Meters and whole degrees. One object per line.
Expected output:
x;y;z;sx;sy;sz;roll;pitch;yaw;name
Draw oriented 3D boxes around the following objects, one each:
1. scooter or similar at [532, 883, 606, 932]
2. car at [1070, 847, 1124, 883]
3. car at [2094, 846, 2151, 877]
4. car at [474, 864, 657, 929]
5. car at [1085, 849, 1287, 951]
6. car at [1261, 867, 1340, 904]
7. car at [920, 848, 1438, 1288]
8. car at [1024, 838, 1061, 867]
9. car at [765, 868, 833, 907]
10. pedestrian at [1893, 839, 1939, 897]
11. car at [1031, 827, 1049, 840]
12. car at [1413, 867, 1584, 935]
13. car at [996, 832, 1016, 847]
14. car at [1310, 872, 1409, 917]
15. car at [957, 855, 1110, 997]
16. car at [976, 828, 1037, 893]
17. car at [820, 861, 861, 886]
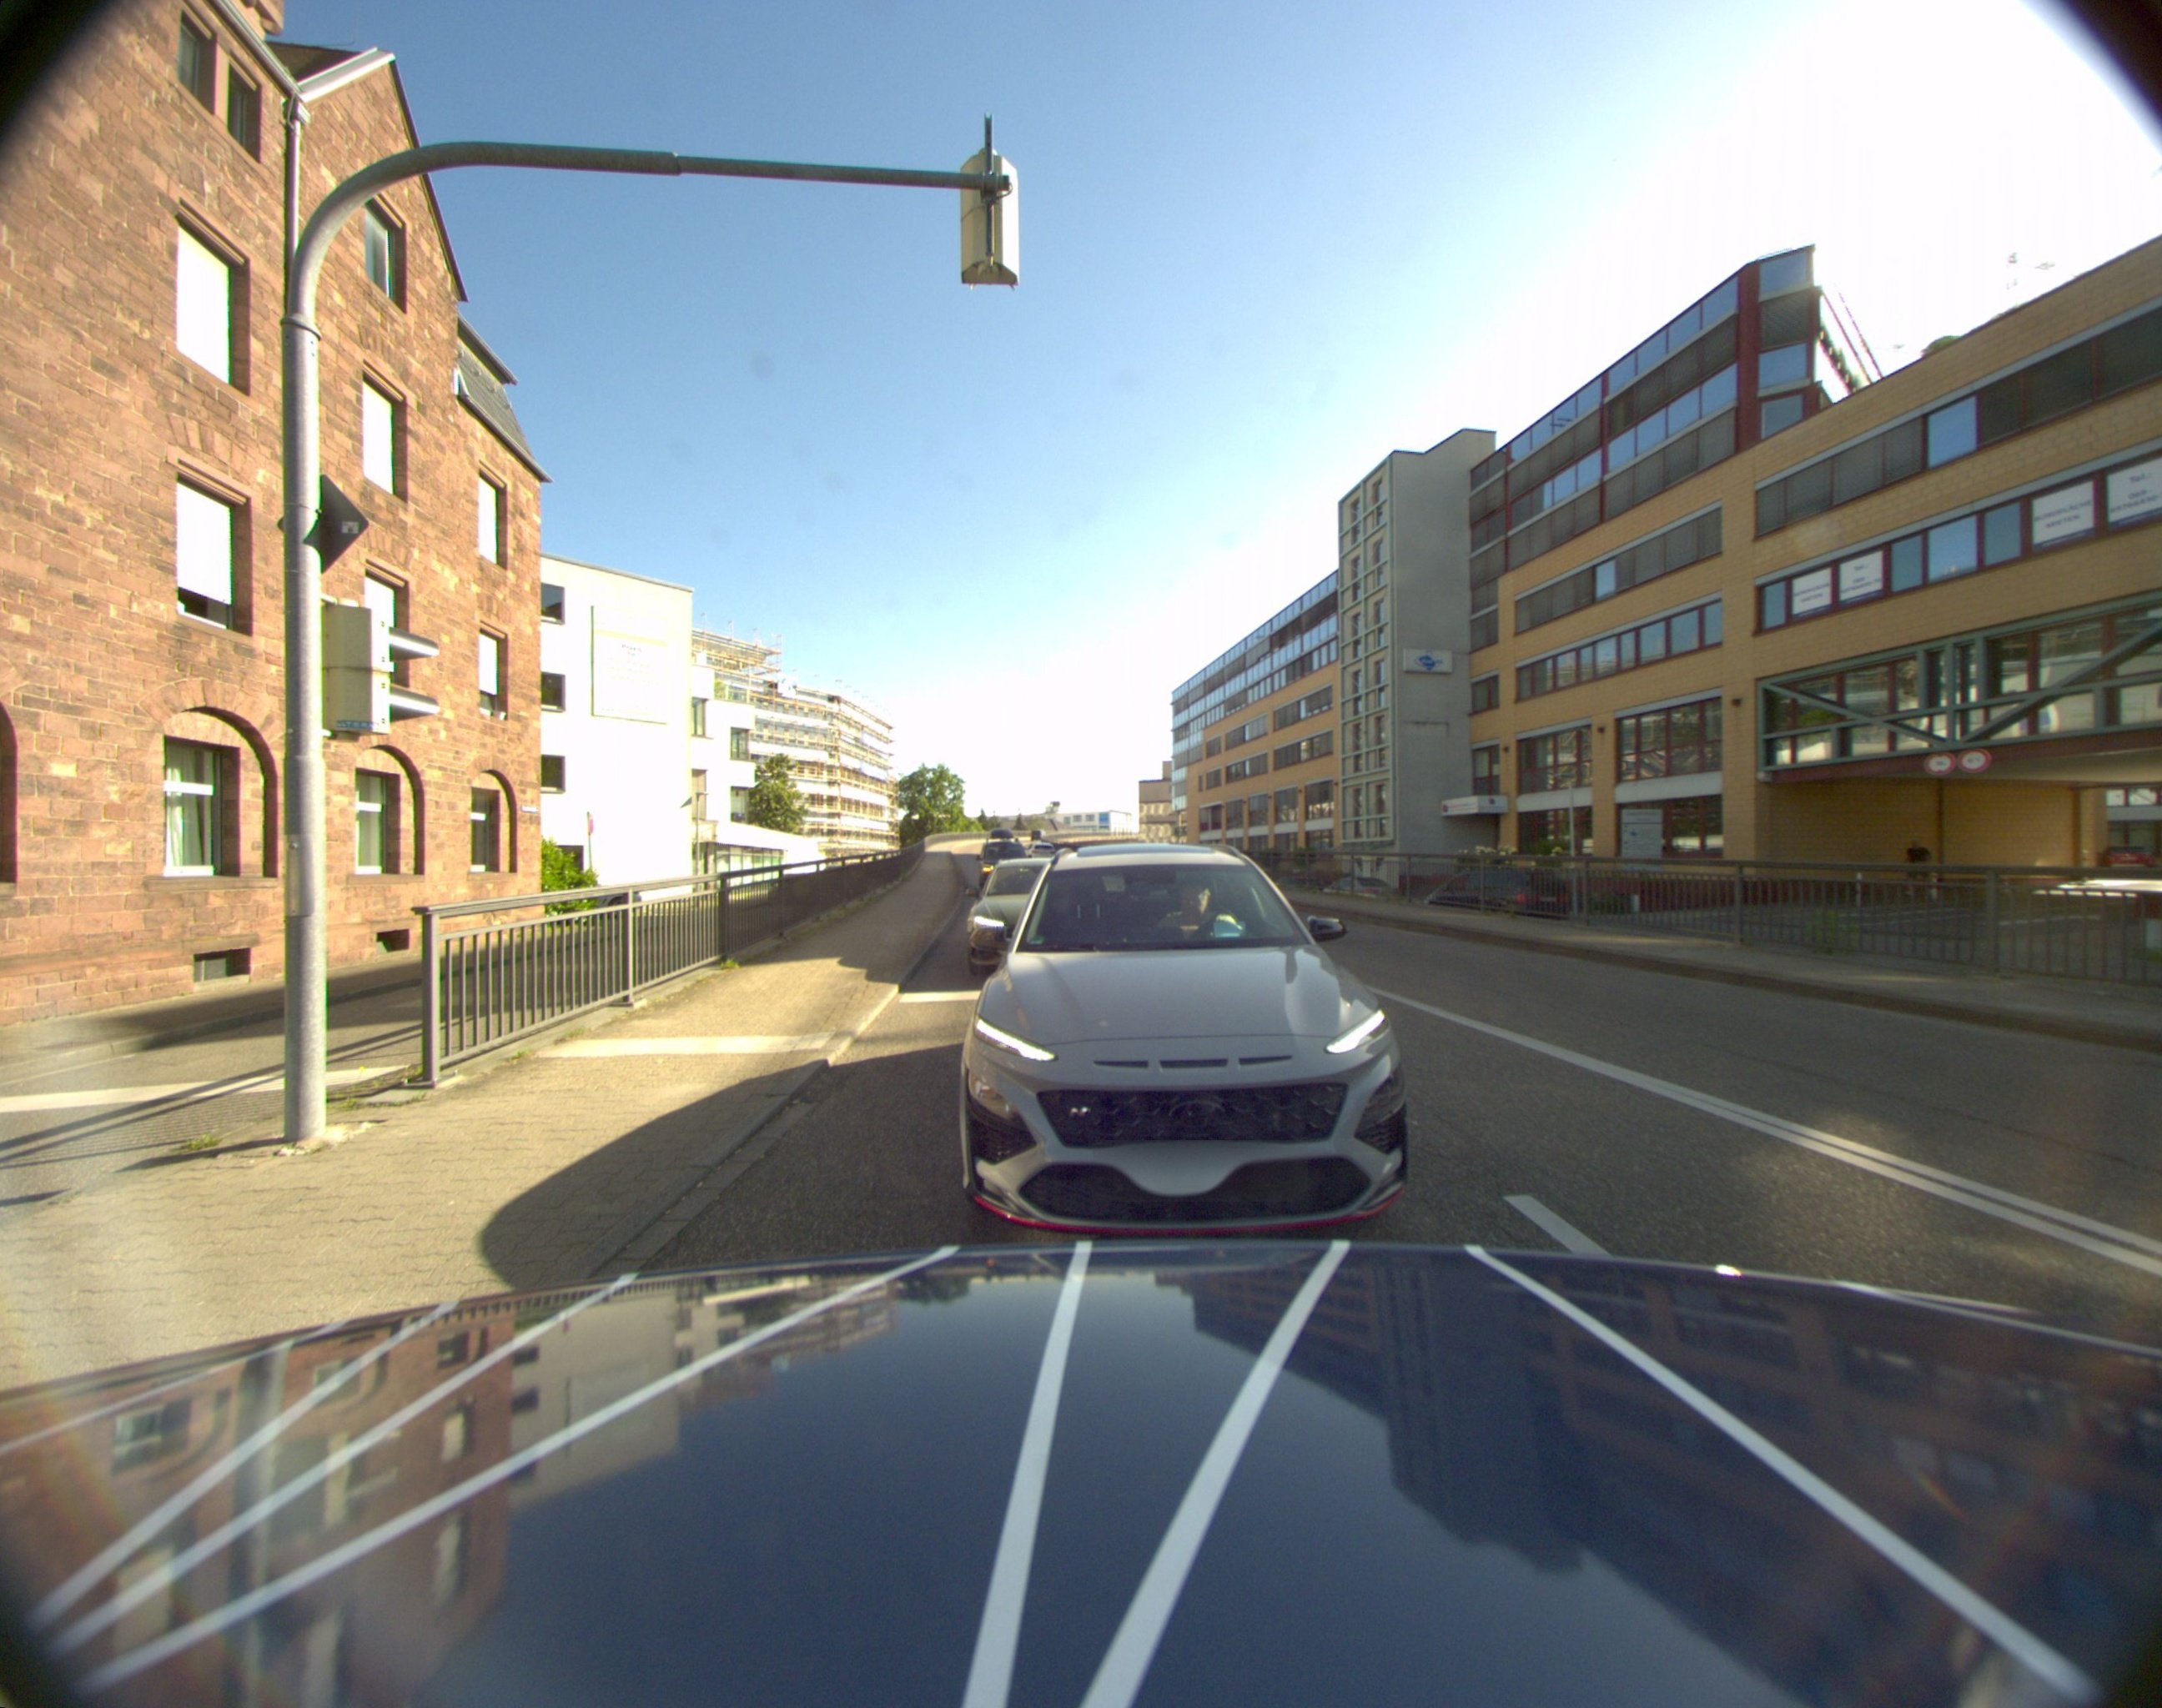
-14.270;1.476;21.206;1.463;1.212;0.784;-3;1;-14;scooter or similar
0.634;0.499;33.030;1.691;1.448;3.912;-1;-2;-8;car
53.701;0.383;39.215;3.159;1.564;1.639;0;-1;-38;car
-16.977;1.306;25.221;1.823;1.757;4.658;1;2;42;car
1.779;0.715;14.507;1.852;1.527;4.499;-2;2;-21;car
10.283;1.423;35.915;1.826;1.594;4.353;0;0;-10;car
0.394;0.767;4.857;1.849;1.561;4.220;-1;1;1;car
-2.717;-0.154;52.359;1.840;1.644;4.621;2;3;-11;car
-13.042;1.498;35.429;1.850;1.422;4.678;-1;2;-6;car
26.809;0.431;24.405;0.787;1.833;0.678;0;0;-12;pedestrian
-6.669;-3.352;123.586;1.997;1.924;4.855;0;0;8;car
12.408;1.303;23.022;1.957;1.747;4.683;-1;0;-11;car
-8.088;-1.531;82.036;1.826;1.494;4.448;0;-1;-10;car
11.088;1.562;30.604;1.826;1.594;4.353;0;0;-10;car
-0.599;0.826;10.804;1.721;1.483;4.167;-1;2;-2;car
-2.939;0.150;29.170;1.911;2.202;4.592;-1;3;-11;car
-15.525;1.244;49.177;1.850;1.526;3.997;0;0;-7;car
